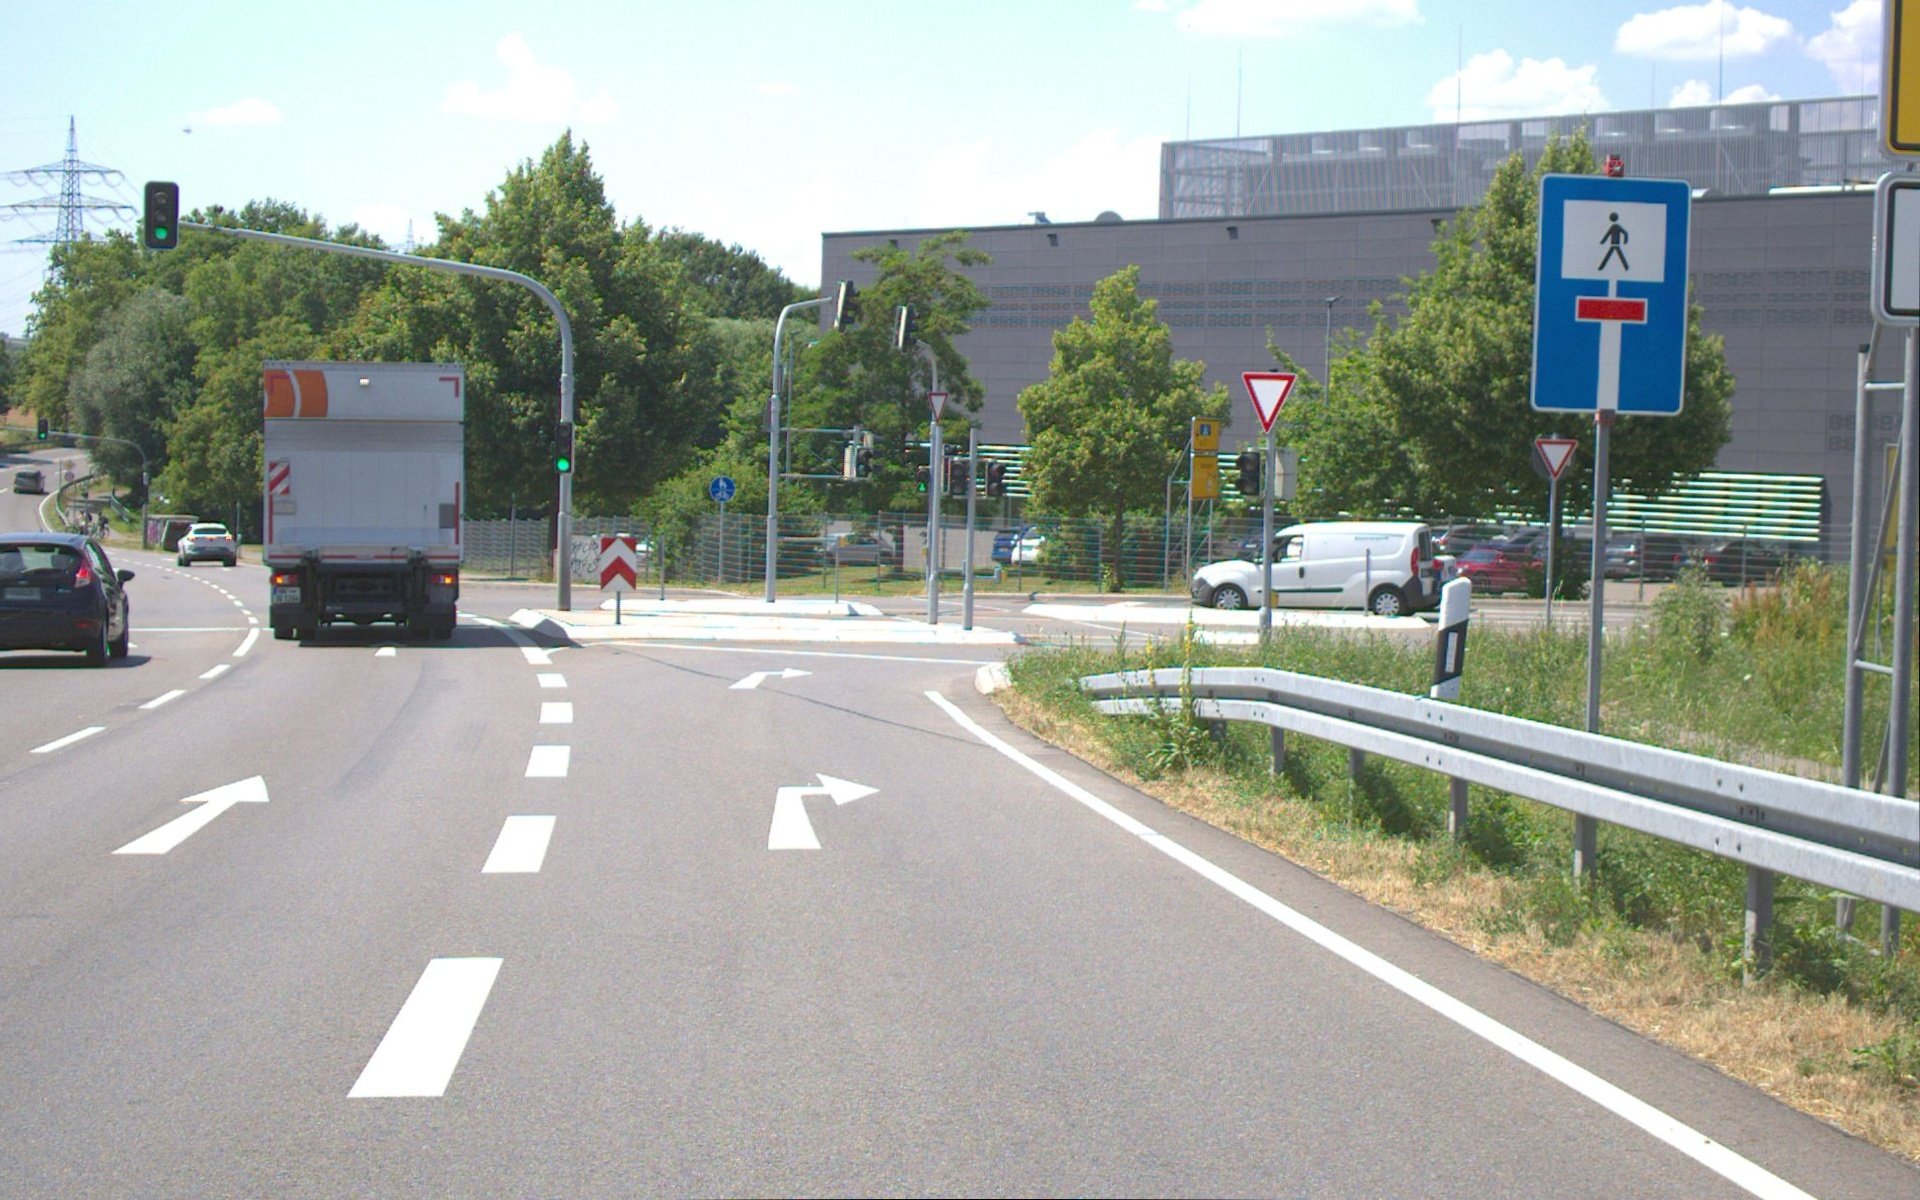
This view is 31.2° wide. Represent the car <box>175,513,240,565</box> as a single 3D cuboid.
[{"bbox_3d":[-26.514,-2.155,121.092,1.943,1.658,4.002,3,1,-15],"label":"car"}]

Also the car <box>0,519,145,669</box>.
[{"bbox_3d":[-10.345,-0.115,39.039,1.652,1.488,4.209,1,3,-7],"label":"car"}]

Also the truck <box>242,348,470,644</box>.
[{"bbox_3d":[-8.464,-1.466,48.008,2.803,3.698,9.111,1,2,-10],"label":"truck"}]

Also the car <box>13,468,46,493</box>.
[{"bbox_3d":[-65.956,-8.478,243.724,1.993,1.678,4.001,0,1,-11],"label":"car"}]

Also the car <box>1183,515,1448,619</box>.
[{"bbox_3d":[6.895,-0.658,66.602,4.749,1.925,2.152,1,1,18],"label":"car"}]
